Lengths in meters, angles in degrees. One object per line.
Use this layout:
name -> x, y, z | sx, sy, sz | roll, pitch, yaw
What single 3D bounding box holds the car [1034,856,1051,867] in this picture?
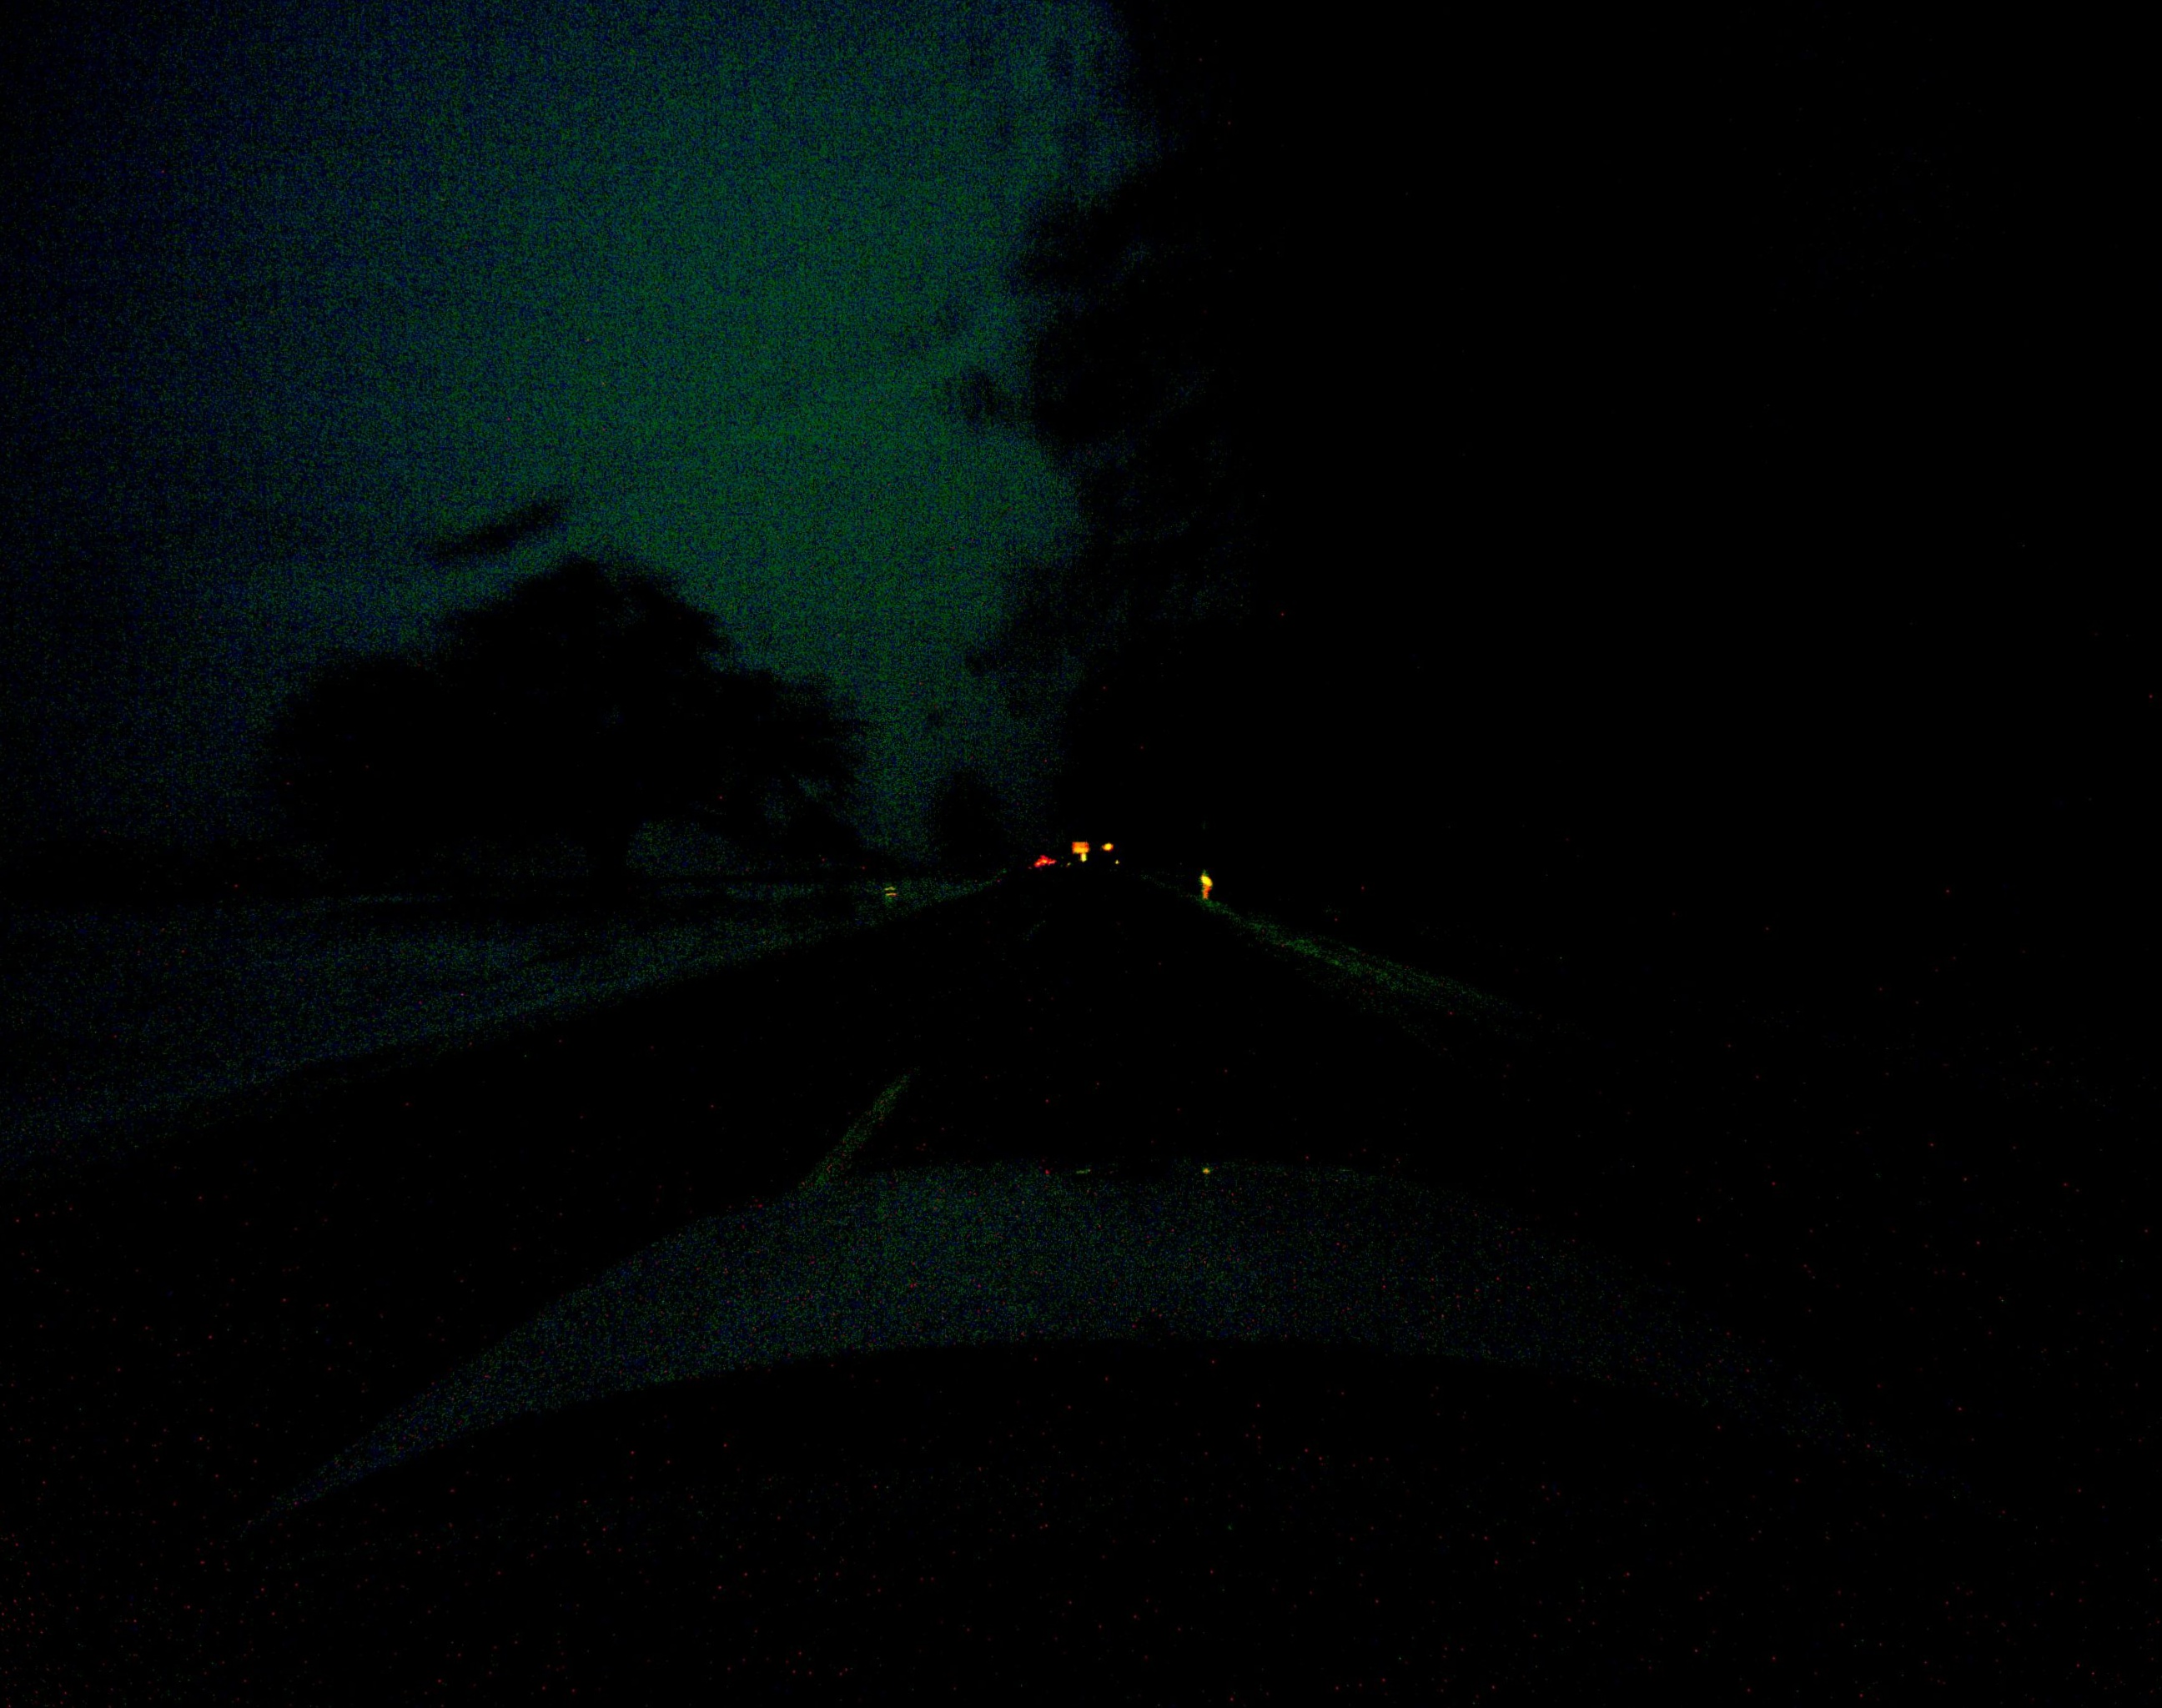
car -> -5.030, 1.021, 107.625 | 1.915, 1.277, 4.002 | -3, 0, 2
